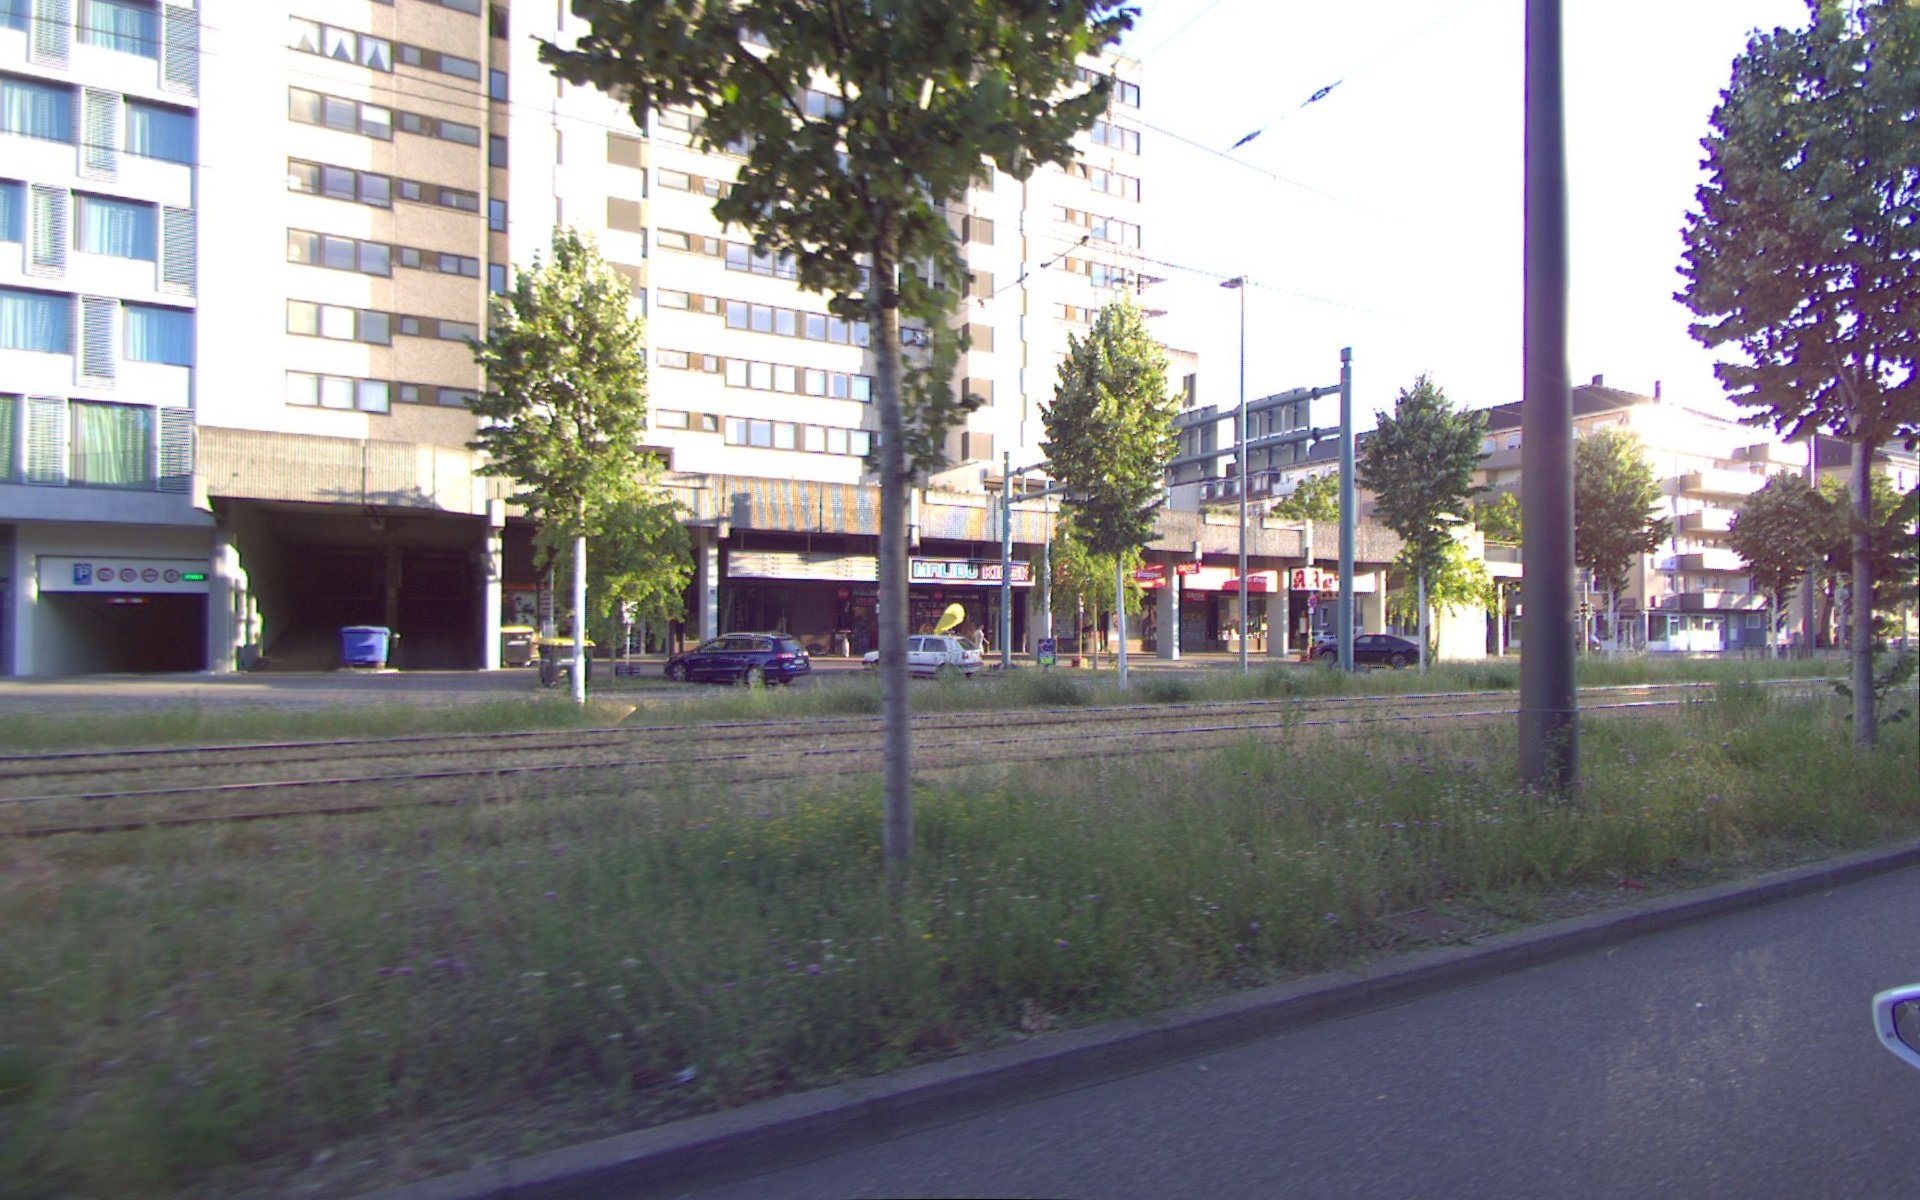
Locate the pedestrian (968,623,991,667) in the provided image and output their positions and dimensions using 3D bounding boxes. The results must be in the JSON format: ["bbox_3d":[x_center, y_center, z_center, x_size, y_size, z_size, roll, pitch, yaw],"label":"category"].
[{"bbox_3d":[0.772,1.761,39.102,0.653,1.683,0.661,1,0,-27],"label":"pedestrian"}]

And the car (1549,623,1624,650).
[{"bbox_3d":[44.184,2.560,70.919,2.165,1.870,3.917,1,-2,-29],"label":"car"}]

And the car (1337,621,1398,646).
[{"bbox_3d":[34.523,2.822,85.173,2.140,2.016,4.468,1,-1,-29],"label":"car"}]

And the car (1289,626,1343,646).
[{"bbox_3d":[31.989,3.229,90.427,2.090,1.779,4.310,1,-1,-29],"label":"car"}]

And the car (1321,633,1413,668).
[{"bbox_3d":[17.698,2.180,43.828,3.657,1.469,1.744,0,-2,20],"label":"car"}]

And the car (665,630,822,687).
[{"bbox_3d":[-6.511,1.718,30.312,4.201,1.611,2.009,0,-1,21],"label":"car"}]

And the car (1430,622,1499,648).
[{"bbox_3d":[39.265,2.746,78.247,2.140,1.792,4.311,-1,-3,-29],"label":"car"}]

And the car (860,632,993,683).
[{"bbox_3d":[-1.111,1.870,33.650,4.052,1.455,1.824,1,0,23],"label":"car"}]
